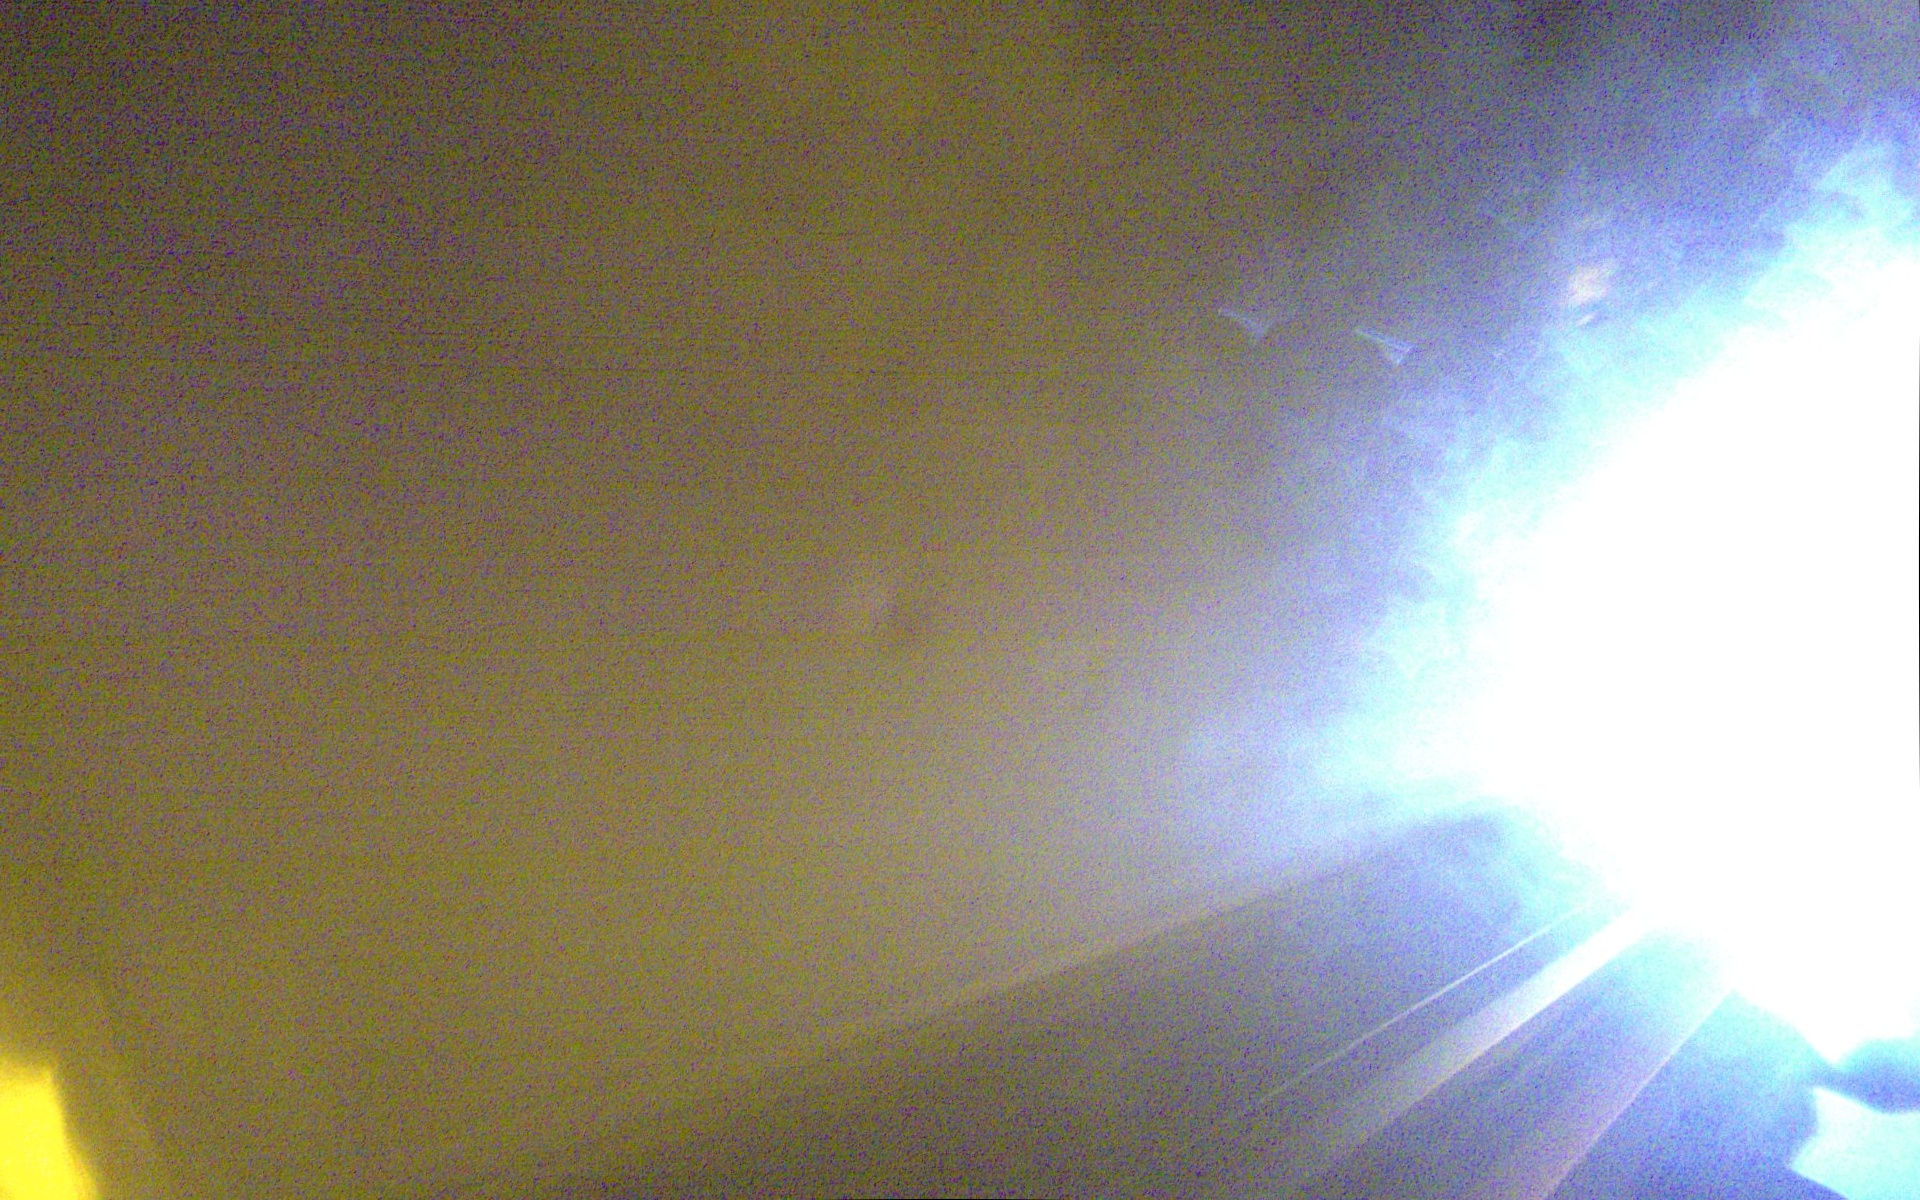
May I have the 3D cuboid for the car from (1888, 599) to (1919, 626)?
[{"bbox_3d":[67.471,0.847,71.817,1.697,1.794,3.953,1,1,33],"label":"car"}]
